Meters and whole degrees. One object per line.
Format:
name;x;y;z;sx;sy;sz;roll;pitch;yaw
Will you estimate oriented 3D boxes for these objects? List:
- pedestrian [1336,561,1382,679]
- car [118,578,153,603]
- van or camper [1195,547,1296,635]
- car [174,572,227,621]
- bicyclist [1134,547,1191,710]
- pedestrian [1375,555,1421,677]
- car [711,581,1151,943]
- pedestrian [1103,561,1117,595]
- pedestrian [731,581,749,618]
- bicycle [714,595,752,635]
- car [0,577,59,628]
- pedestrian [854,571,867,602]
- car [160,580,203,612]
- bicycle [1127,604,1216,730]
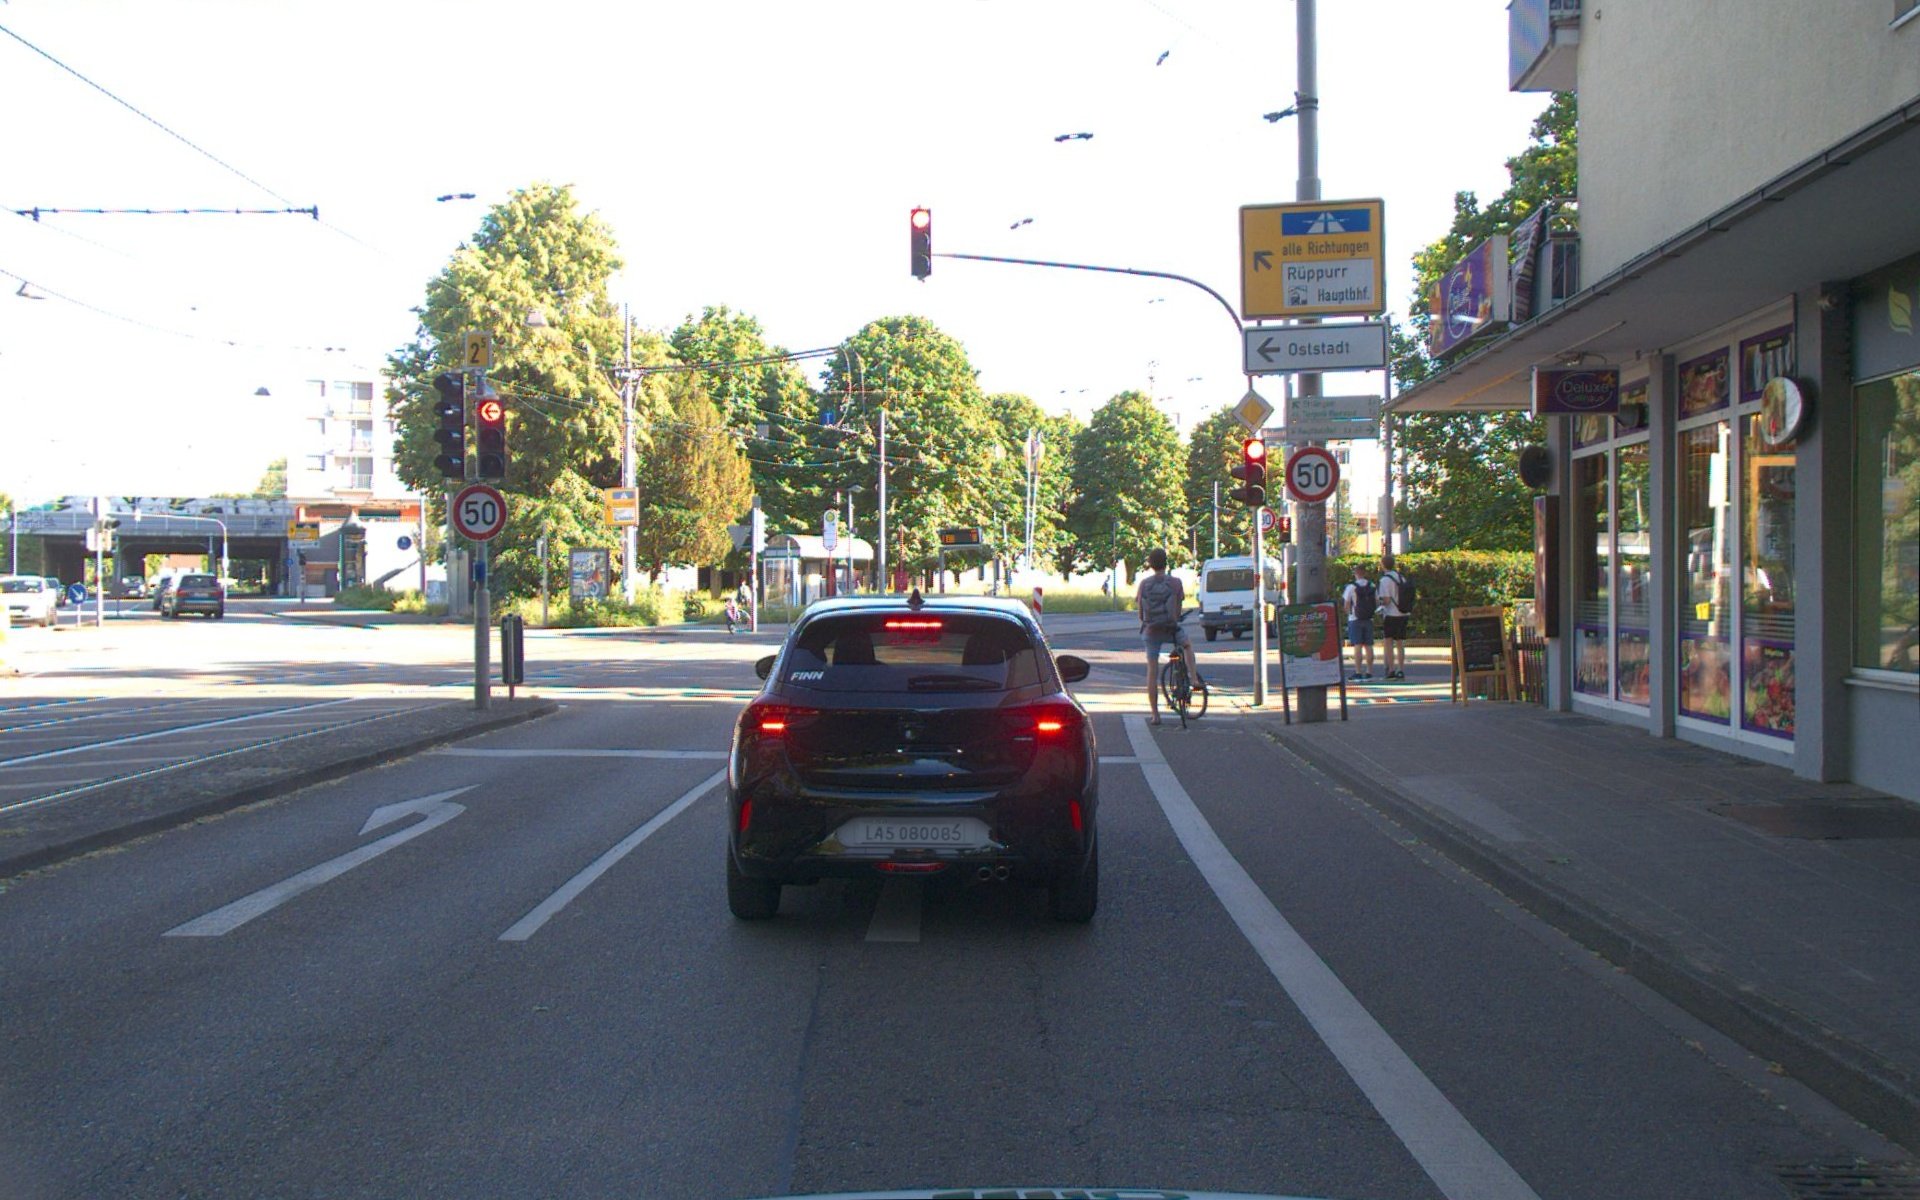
pedestrian;6.197;0.309;25.686;0.620;1.794;0.582;1;-1;19
car;-55.333;-0.646;111.063;1.860;1.613;3.809;1;0;-24
van or camper;8.067;-0.227;46.423;1.987;2.351;4.540;1;0;20
car;-31.027;-0.163;67.609;1.884;1.914;4.808;-1;1;-25
bicyclist;2.180;0.296;17.797;0.522;1.722;0.568;0;0;16
pedestrian;6.785;0.246;25.617;0.620;1.852;0.745;1;-1;19
car;-0.146;0.647;8.804;1.803;1.487;3.983;0;1;-1
pedestrian;8.371;-1.223;92.384;0.598;1.904;0.513;1;-1;-34
pedestrian;-9.034;-0.020;68.079;0.558;1.498;0.666;0;0;9
bicycle;-6.338;0.407;46.193;0.780;1.083;2.184;0;1;-1
car;-31.107;0.070;54.766;1.860;1.613;3.809;1;0;-24
pedestrian;-6.132;-0.817;101.825;0.723;1.904;0.661;1;-1;-7
car;-38.753;-0.197;82.308;1.776;1.545;4.169;1;0;-27
bicycle;2.319;0.688;17.945;0.737;1.256;2.017;0;1;14
